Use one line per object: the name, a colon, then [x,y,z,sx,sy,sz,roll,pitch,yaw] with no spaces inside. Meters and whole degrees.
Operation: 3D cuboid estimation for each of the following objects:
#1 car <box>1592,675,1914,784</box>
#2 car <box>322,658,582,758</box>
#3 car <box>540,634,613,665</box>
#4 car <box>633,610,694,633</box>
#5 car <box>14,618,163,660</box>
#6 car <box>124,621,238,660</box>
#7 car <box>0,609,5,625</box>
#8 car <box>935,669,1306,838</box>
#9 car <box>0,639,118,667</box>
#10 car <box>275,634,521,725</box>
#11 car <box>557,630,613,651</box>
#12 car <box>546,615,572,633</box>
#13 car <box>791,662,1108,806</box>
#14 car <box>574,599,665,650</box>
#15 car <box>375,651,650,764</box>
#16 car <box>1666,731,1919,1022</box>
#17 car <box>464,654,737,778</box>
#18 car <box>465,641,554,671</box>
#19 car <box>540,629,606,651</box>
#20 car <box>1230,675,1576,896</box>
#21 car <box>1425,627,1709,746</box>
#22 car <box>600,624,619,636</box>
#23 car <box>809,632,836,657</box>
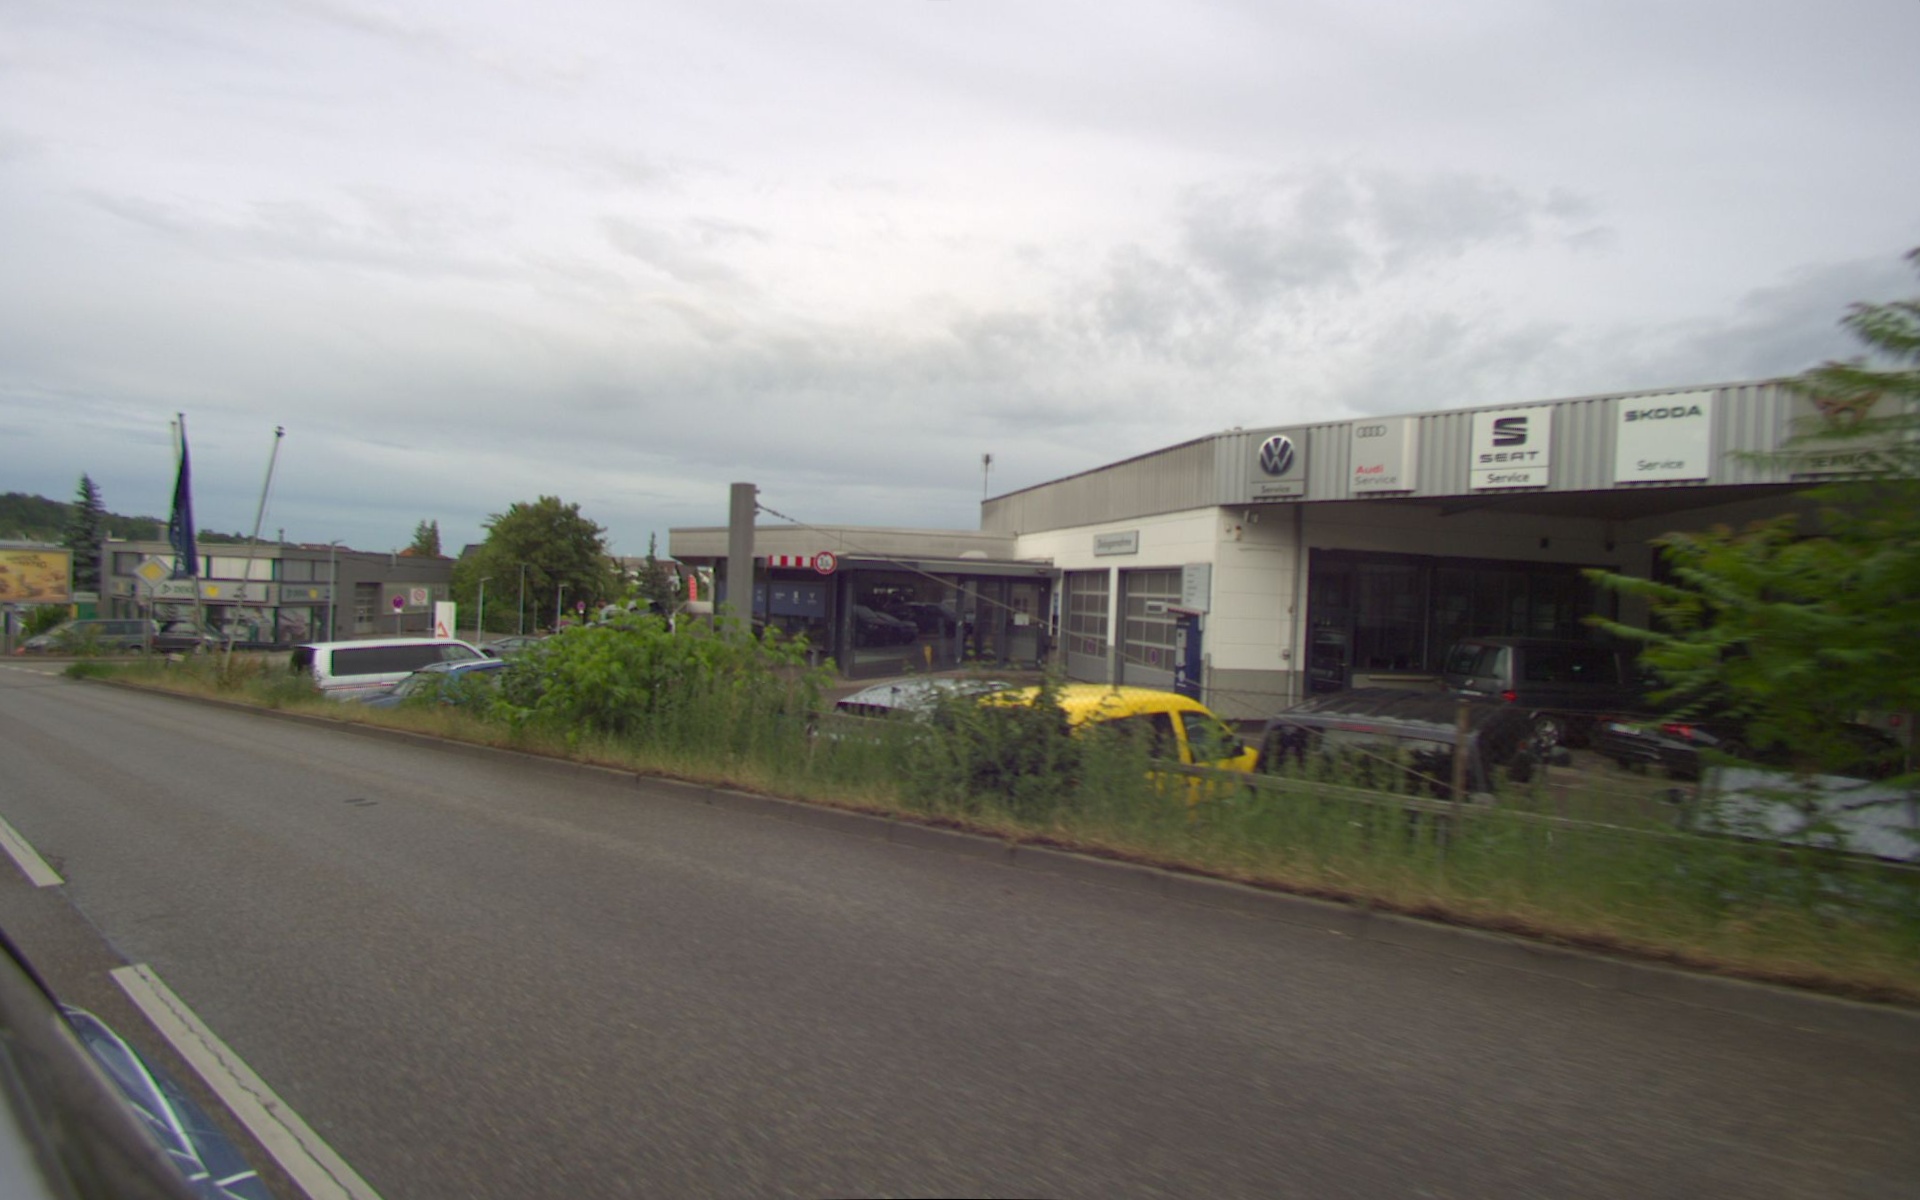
car: [12.314,1.938,15.811,3.954,1.427,1.959,1,-2,-16]
car: [-10.341,2.109,20.876,2.000,1.708,4.369,-2,-3,39]
car: [-22.730,2.925,60.031,3.921,1.802,1.826,1,-2,-25]
car: [-30.658,2.199,104.818,5.789,2.387,2.149,0,0,-4]
car: [-41.368,1.835,48.197,1.816,1.885,5.029,-1,-2,31]
car: [-44.046,2.271,57.309,4.803,2.002,2.002,-1,-1,-5]
car: [-125.056,2.066,128.813,2.025,2.102,5.255,1,-2,0]
car: [1.819,1.442,10.663,4.014,1.301,1.806,2,-3,-44]
car: [-44.373,2.571,49.882,1.761,1.277,4.067,0,-2,27]
car: [-12.377,1.672,22.527,1.932,1.811,4.369,-2,-3,39]
car: [-25.946,2.777,69.965,3.530,1.439,1.588,1,-2,-25]
car: [-36.359,2.204,91.771,1.384,1.559,3.220,0,-2,-7]
car: [0.043,1.532,12.817,1.872,1.379,4.187,-1,-2,37]
car: [-12.877,0.929,38.170,4.251,1.814,1.384,-1,-2,43]
car: [-8.375,1.908,19.301,1.999,1.811,4.371,-1,-3,37]
car: [6.306,1.770,7.334,1.801,1.220,4.025,-1,-2,37]
car: [-6.171,1.902,17.799,1.872,1.811,4.187,-2,-3,37]
car: [-22.695,2.794,51.049,4.034,1.439,1.896,1,-2,-25]
car: [-25.424,2.612,66.406,3.921,1.439,1.850,1,-2,-25]
car: [3.919,1.330,8.552,1.801,1.220,4.025,-1,-2,37]
car: [11.316,1.592,18.955,4.410,1.975,1.994,3,-2,-14]
car: [-37.108,3.175,107.228,1.360,1.197,3.068,0,-2,-7]
car: [-11.819,3.839,87.242,1.881,2.029,4.001,2,-2,-2]
